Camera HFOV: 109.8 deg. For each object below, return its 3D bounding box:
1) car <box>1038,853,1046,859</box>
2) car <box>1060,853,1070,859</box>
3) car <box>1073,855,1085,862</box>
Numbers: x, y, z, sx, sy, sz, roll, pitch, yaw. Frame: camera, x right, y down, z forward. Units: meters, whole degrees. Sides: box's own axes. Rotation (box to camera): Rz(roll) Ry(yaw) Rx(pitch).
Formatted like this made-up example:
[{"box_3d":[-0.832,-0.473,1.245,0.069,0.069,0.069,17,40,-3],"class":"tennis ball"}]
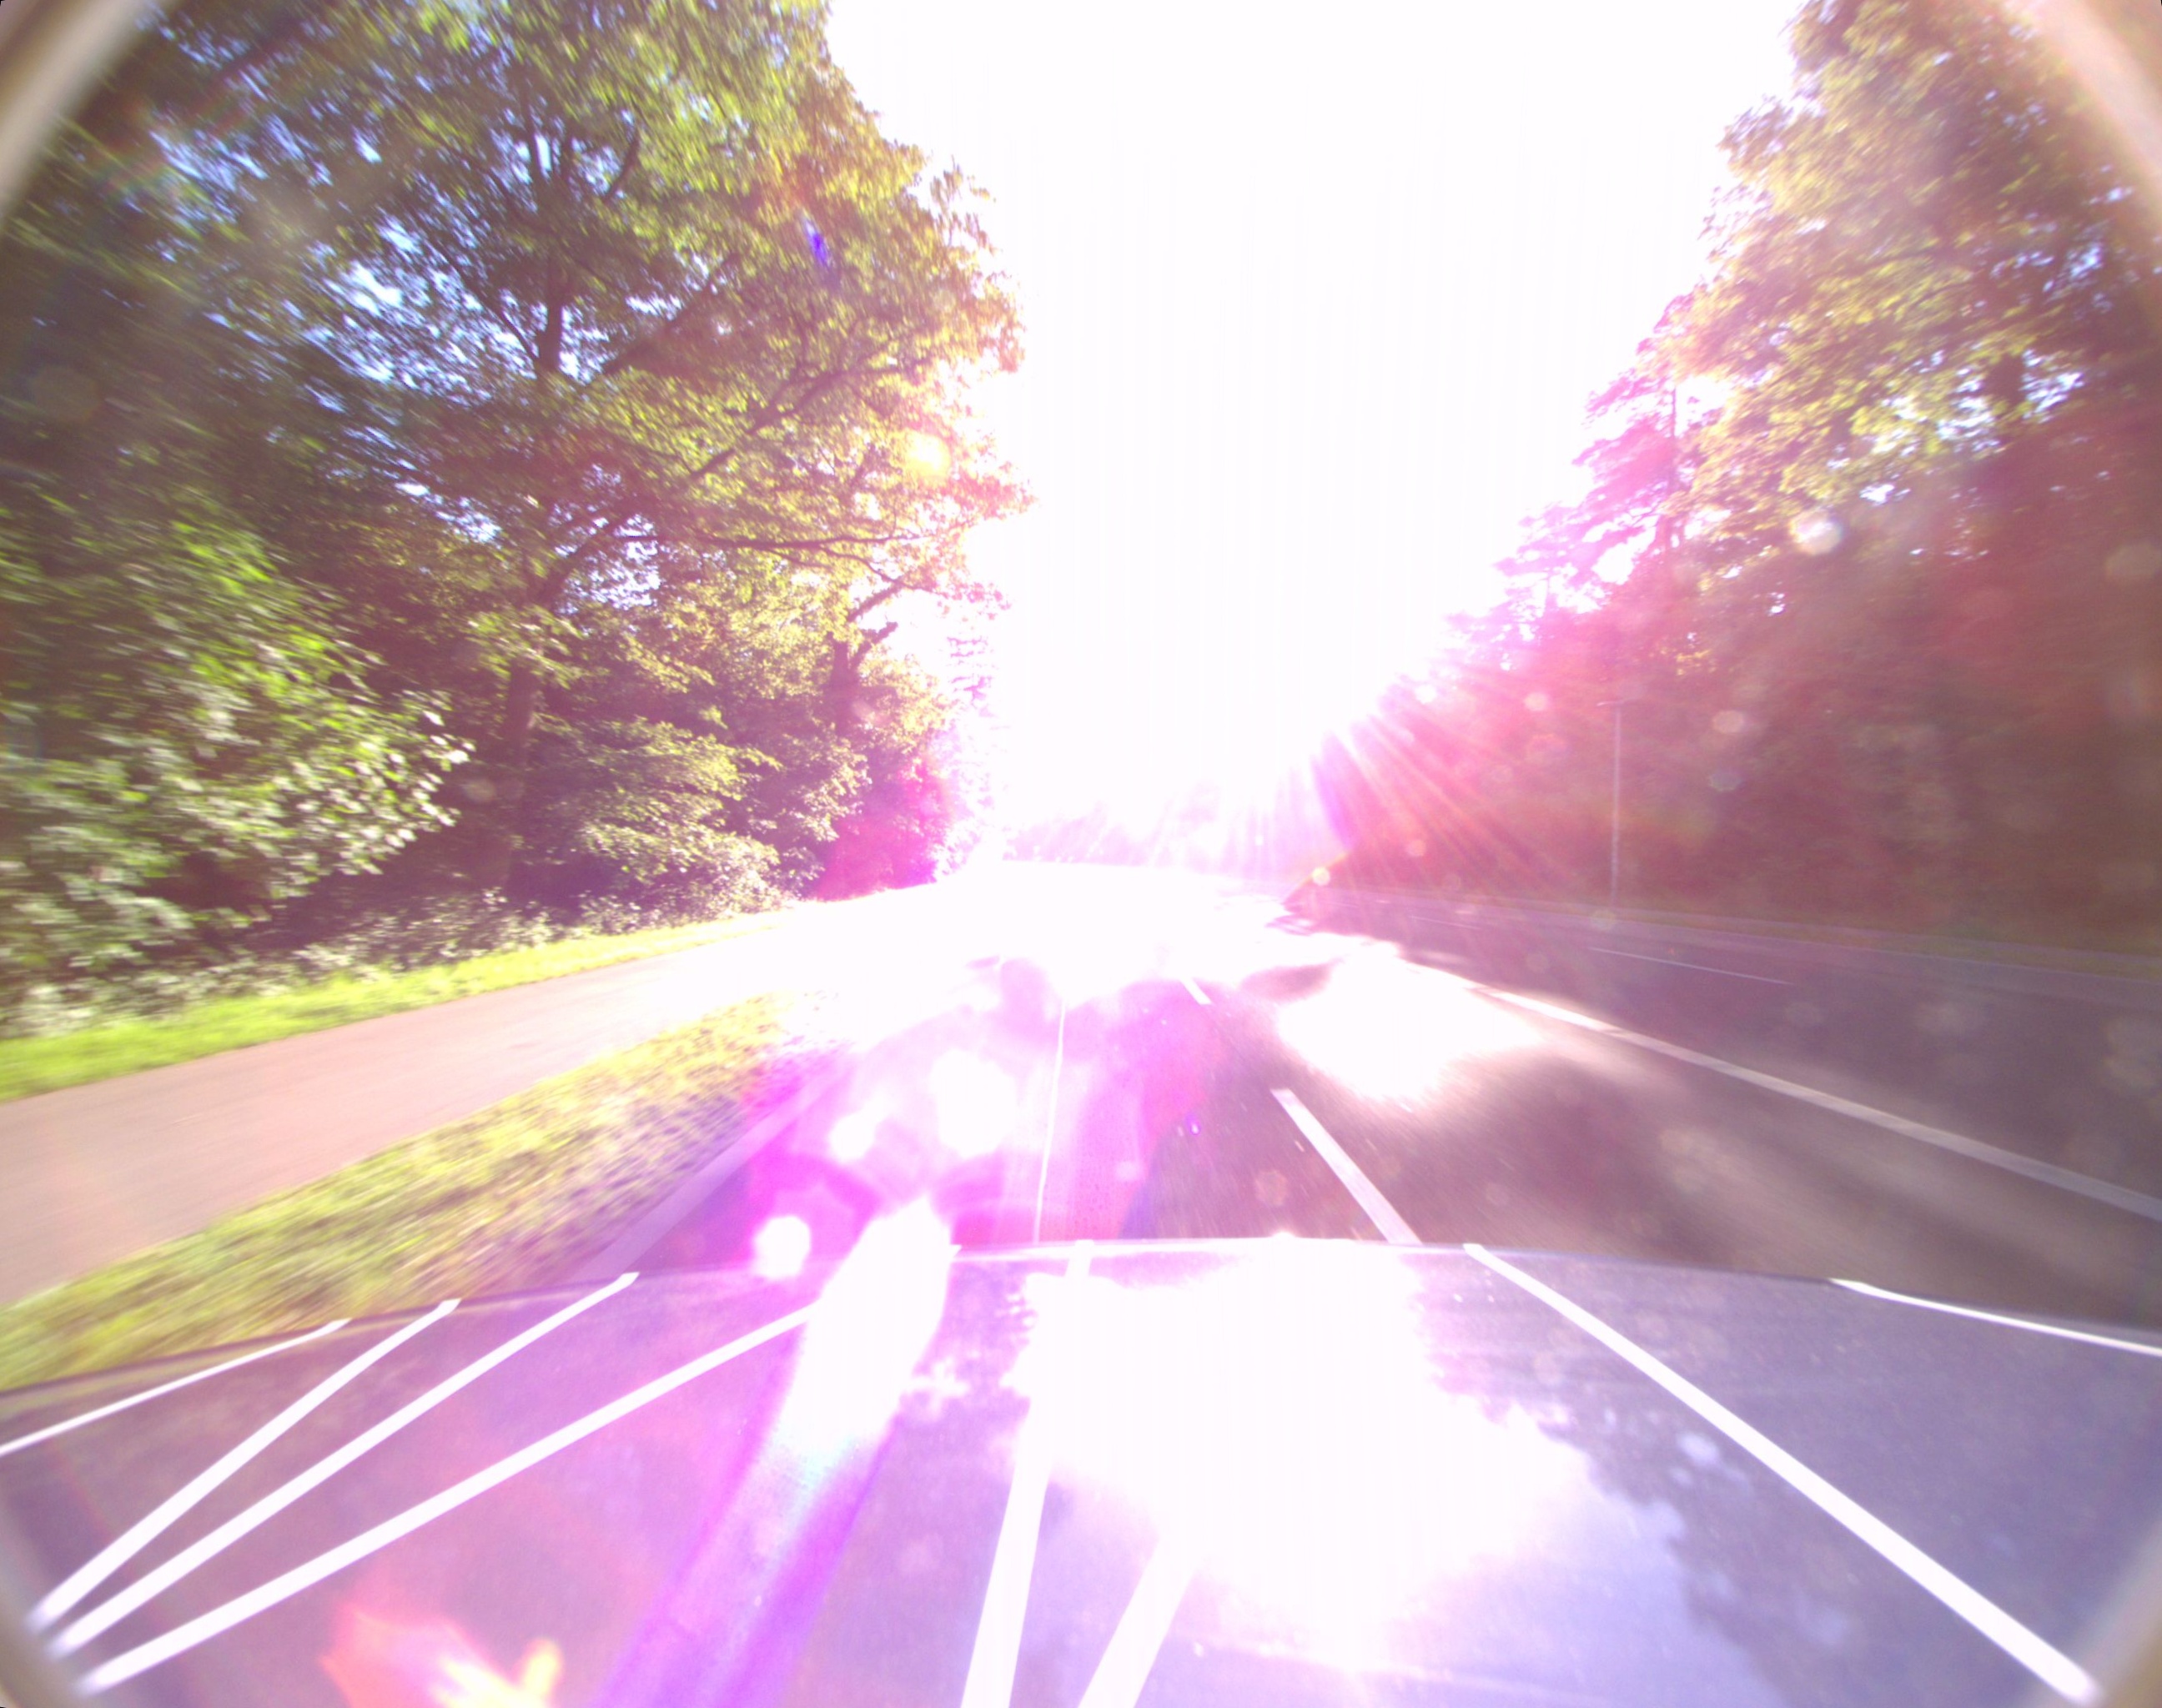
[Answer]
[{"box_3d":[-11.731,0.559,228.950,1.902,1.601,4.445,-1,0,-10],"class":"car"},{"box_3d":[-4.014,0.431,189.092,1.744,1.449,3.995,-3,1,-9],"class":"car"},{"box_3d":[-0.453,0.992,167.280,1.663,1.472,4.168,-2,0,-12],"class":"car"}]
